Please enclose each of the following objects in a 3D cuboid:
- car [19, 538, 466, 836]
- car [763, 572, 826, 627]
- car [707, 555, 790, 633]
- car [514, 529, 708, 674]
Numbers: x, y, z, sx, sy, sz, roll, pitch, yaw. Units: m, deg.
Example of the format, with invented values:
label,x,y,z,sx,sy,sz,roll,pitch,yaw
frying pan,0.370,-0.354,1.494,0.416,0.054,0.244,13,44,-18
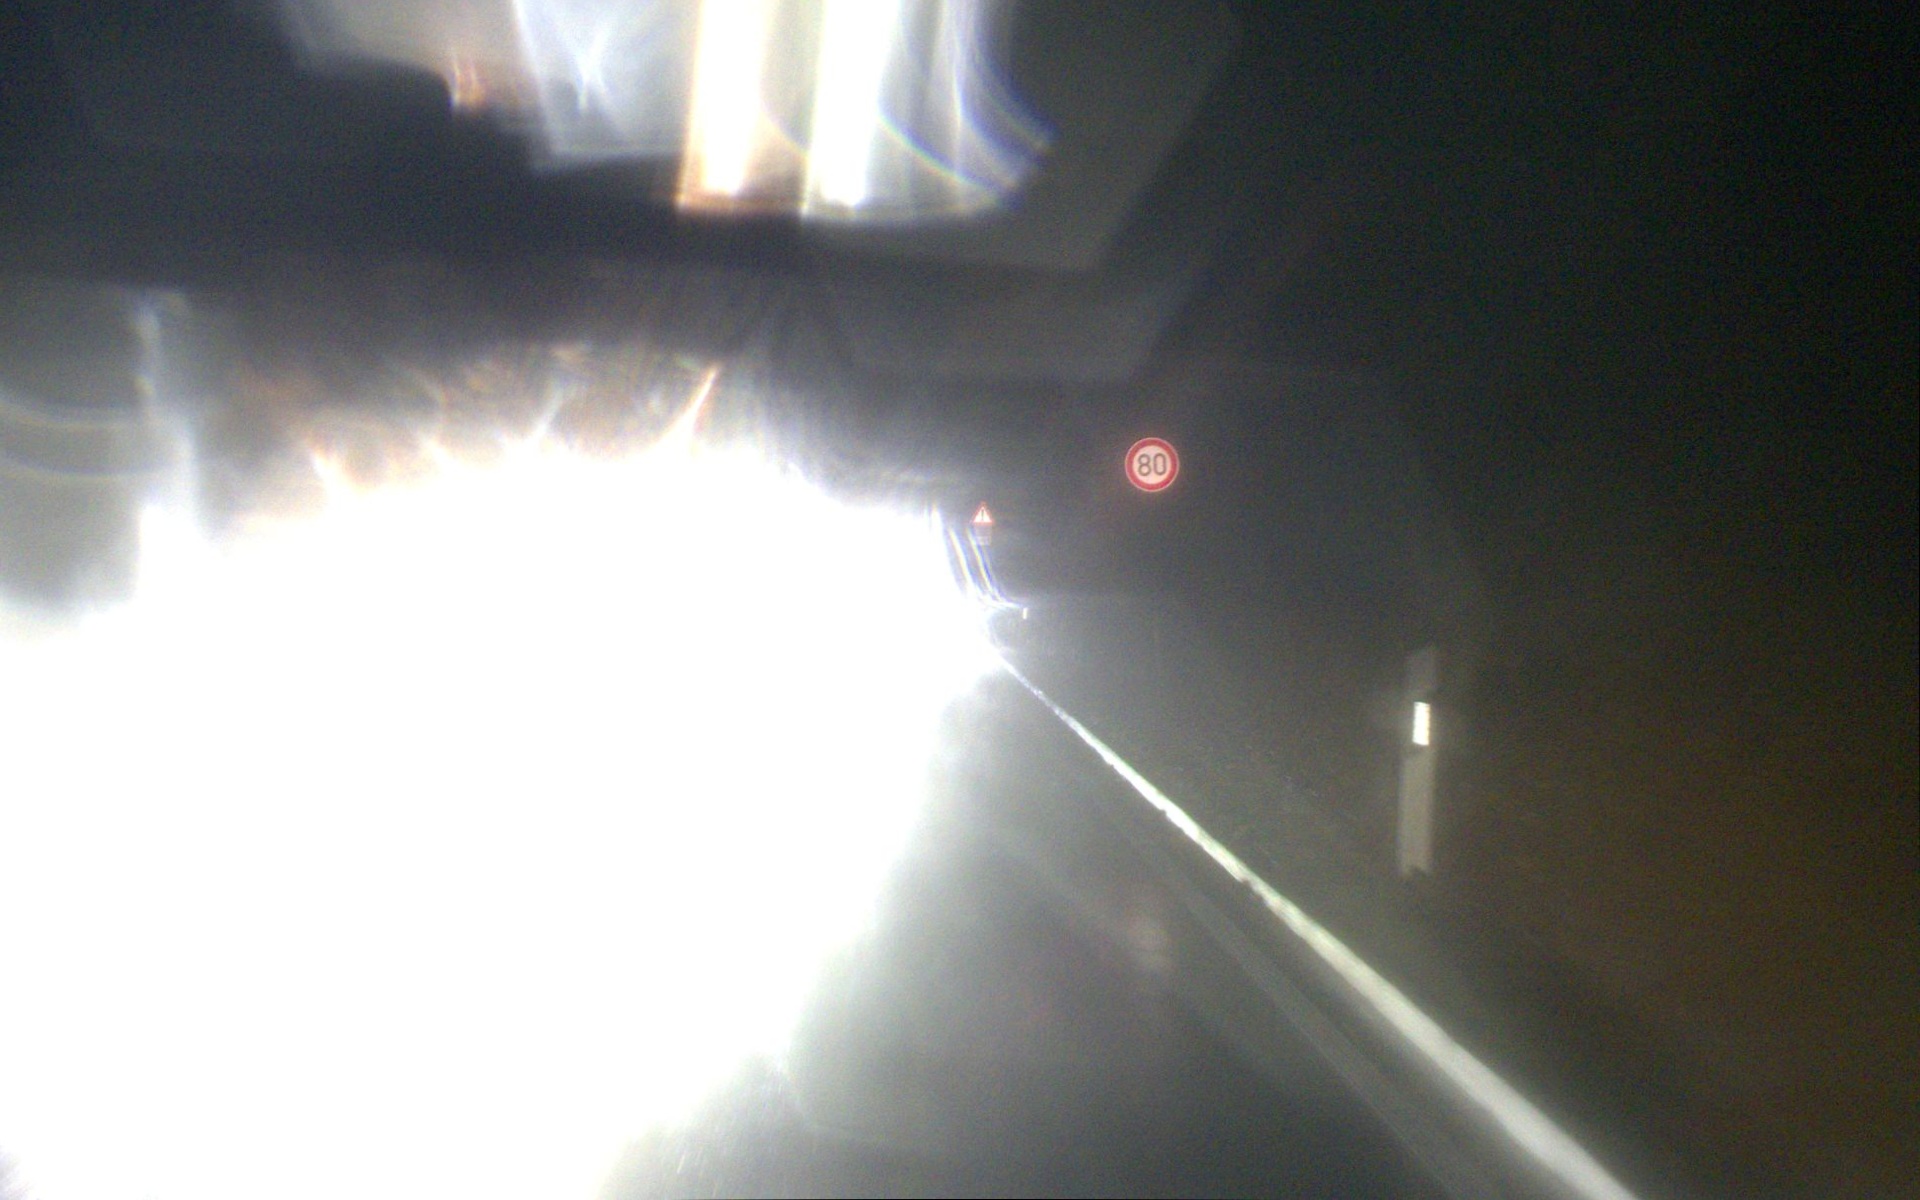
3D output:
label,x,y,z,sx,sy,sz,roll,pitch,yaw
car,-4.300,0.456,21.291,1.888,1.629,4.391,1,1,-1
car,-5.504,-0.013,114.854,1.779,1.696,3.998,-4,0,0
car,-5.468,-0.146,89.289,1.779,1.873,3.998,-4,0,0
car,-4.296,0.034,42.887,2.039,1.602,3.999,-4,0,-2
